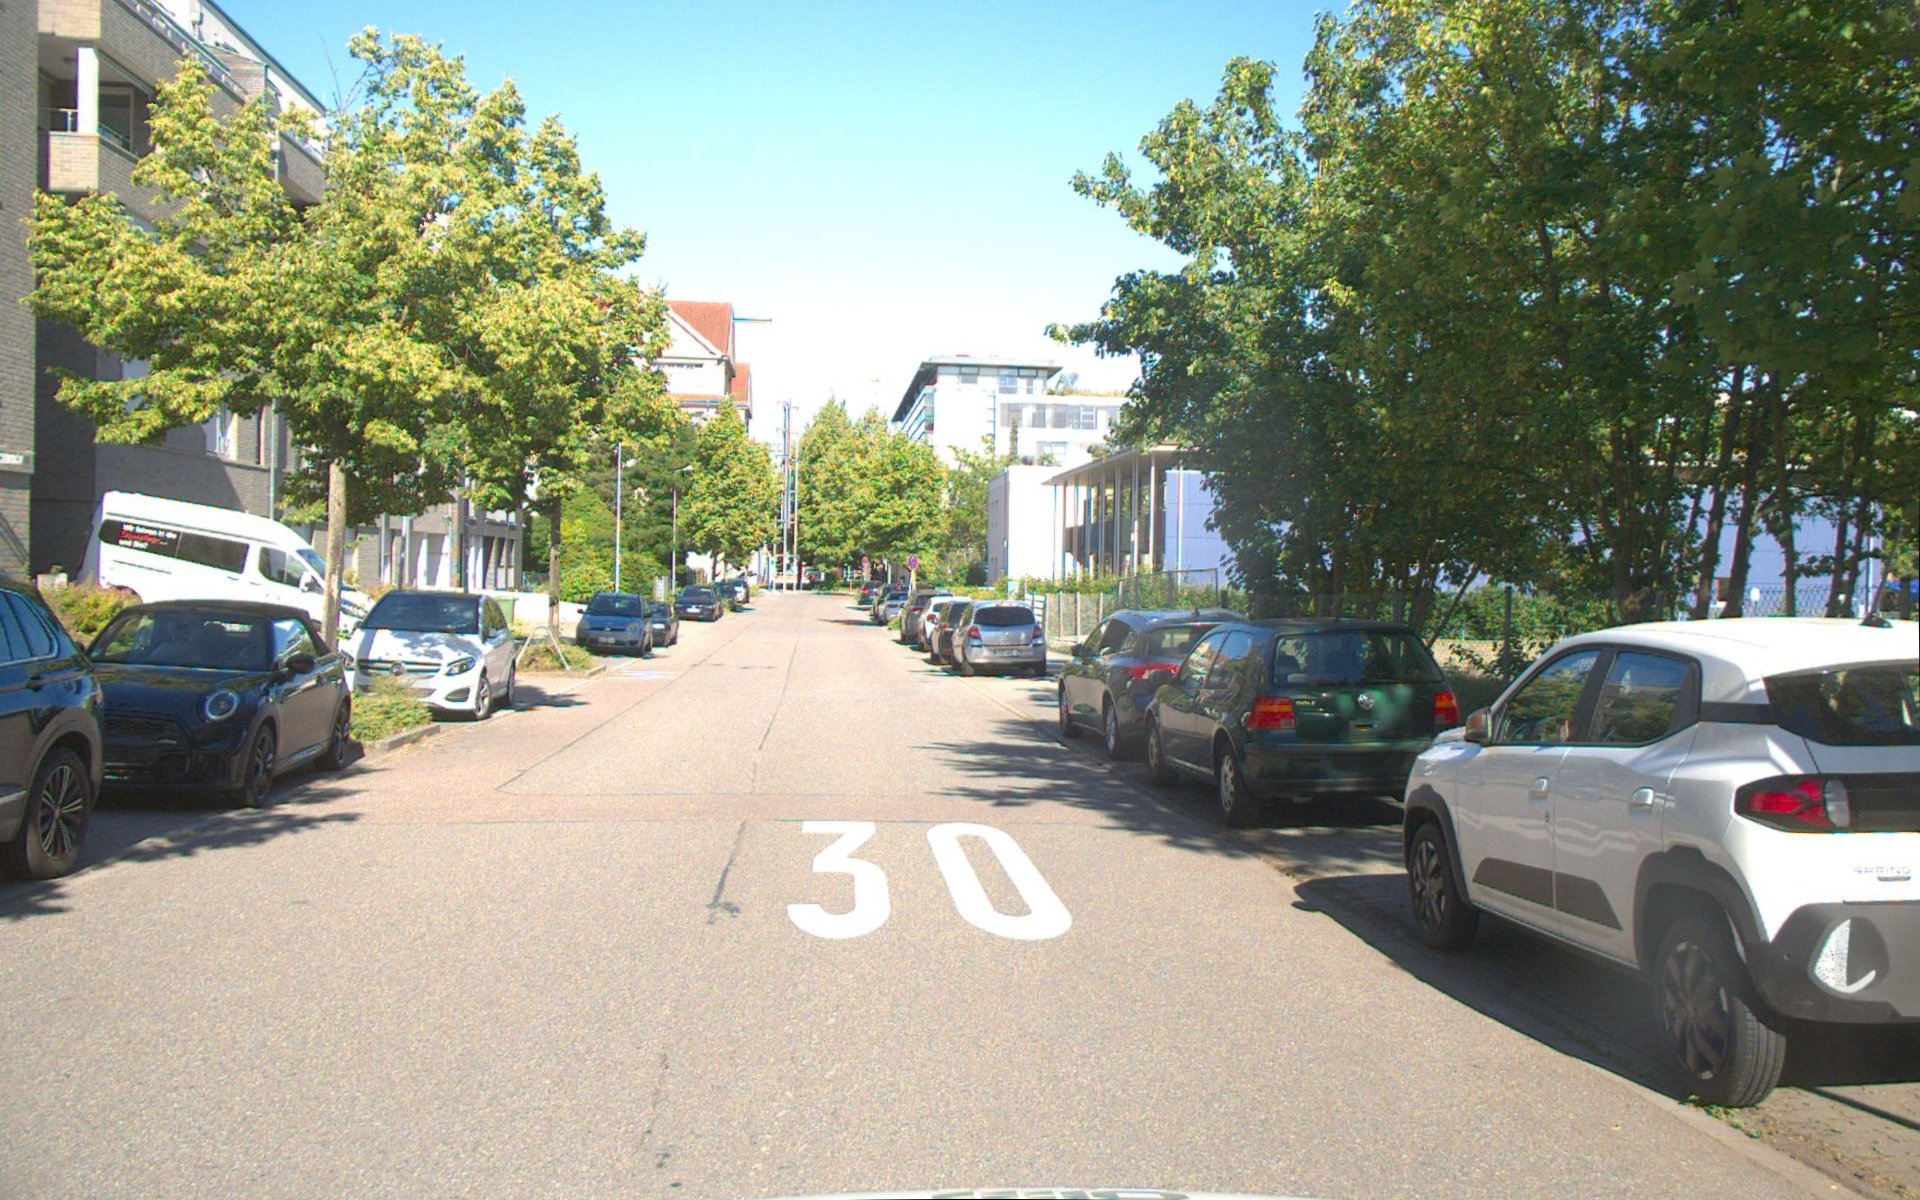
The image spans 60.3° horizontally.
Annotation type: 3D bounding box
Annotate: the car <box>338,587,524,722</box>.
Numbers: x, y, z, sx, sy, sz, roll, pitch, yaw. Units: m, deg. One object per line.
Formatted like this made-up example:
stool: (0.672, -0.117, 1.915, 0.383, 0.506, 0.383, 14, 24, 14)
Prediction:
car: (-6.830, 0.630, 21.742, 1.628, 1.559, 4.279, 1, 1, -9)

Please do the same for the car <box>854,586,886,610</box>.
car: (-5.819, -0.160, 106.811, 1.955, 1.512, 3.996, 1, 0, -5)

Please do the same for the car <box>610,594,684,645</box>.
car: (-8.858, 0.523, 46.979, 1.567, 1.238, 3.872, 3, 1, -4)

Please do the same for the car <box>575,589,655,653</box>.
car: (-8.598, 0.489, 41.491, 1.580, 1.490, 3.869, 1, 1, -6)

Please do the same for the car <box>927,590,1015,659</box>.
car: (0.213, 0.541, 39.158, 1.655, 1.520, 4.073, 1, 0, -6)

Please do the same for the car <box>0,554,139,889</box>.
car: (-5.595, 0.580, 7.404, 1.849, 1.648, 4.335, 1, 0, -4)

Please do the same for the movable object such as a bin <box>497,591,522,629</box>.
movable object such as a bin: (-13.275, 0.289, 48.716, 0.596, 1.109, 0.636, 1, 1, -7)

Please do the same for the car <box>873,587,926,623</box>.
car: (-2.609, 0.197, 70.264, 1.795, 1.447, 4.226, -2, 0, -8)

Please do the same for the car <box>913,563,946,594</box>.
car: (-2.111, -1.447, 113.531, 1.984, 2.049, 3.996, 1, 0, -5)

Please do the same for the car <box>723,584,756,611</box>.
car: (-13.306, -0.140, 99.879, 1.743, 1.557, 3.996, 1, 0, -5)

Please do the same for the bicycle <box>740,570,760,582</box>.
bicycle: (-15.730, -1.774, 123.951, 1.440, 0.857, 0.335, 1, 1, -9)

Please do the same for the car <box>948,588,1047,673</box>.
car: (0.724, 0.590, 34.297, 1.630, 1.539, 3.997, 1, 2, -5)

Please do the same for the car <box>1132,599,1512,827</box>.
car: (2.623, 0.755, 13.002, 1.789, 1.497, 4.064, 1, 0, -5)

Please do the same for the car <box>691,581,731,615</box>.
car: (-11.446, -0.113, 76.208, 1.598, 1.527, 3.574, 1, 1, -5)

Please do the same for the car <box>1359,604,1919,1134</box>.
car: (3.024, 0.790, 6.717, 1.587, 1.476, 4.087, 1, -1, -4)

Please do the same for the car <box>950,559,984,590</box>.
car: (0.447, -1.761, 113.879, 1.955, 2.049, 3.996, 1, 1, -5)

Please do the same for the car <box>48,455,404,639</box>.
car: (-13.313, -0.925, 30.332, 5.349, 2.422, 1.918, 9, -1, -9)

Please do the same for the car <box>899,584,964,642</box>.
car: (-0.938, 0.365, 52.041, 1.692, 1.681, 4.321, -1, 1, -6)

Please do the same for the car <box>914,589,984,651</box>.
car: (-0.340, 0.528, 46.787, 1.647, 1.568, 3.845, 1, 2, -5)

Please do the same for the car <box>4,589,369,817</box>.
car: (-5.904, 0.690, 13.098, 1.548, 1.530, 3.783, 1, 0, -8)

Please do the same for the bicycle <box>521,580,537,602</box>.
bicycle: (-17.985, -0.380, 69.052, 0.248, 0.852, 1.774, 1, 2, -2)

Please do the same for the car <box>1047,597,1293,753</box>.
car: (2.123, 0.715, 17.931, 1.644, 1.463, 4.433, 1, 0, -6)

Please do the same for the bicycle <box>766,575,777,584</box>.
bicycle: (-16.414, -1.776, 143.903, 0.371, 0.695, 1.064, 0, 2, -41)

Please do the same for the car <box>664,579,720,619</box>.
car: (-11.342, -0.055, 70.188, 1.726, 1.554, 3.999, 3, 0, -2)

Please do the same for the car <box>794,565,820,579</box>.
car: (-23.483, -4.380, 254.623, 3.908, 2.048, 1.999, 1, 2, -4)

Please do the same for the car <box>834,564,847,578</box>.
car: (-18.518, -4.556, 256.432, 1.954, 2.048, 3.997, 1, 2, -5)
